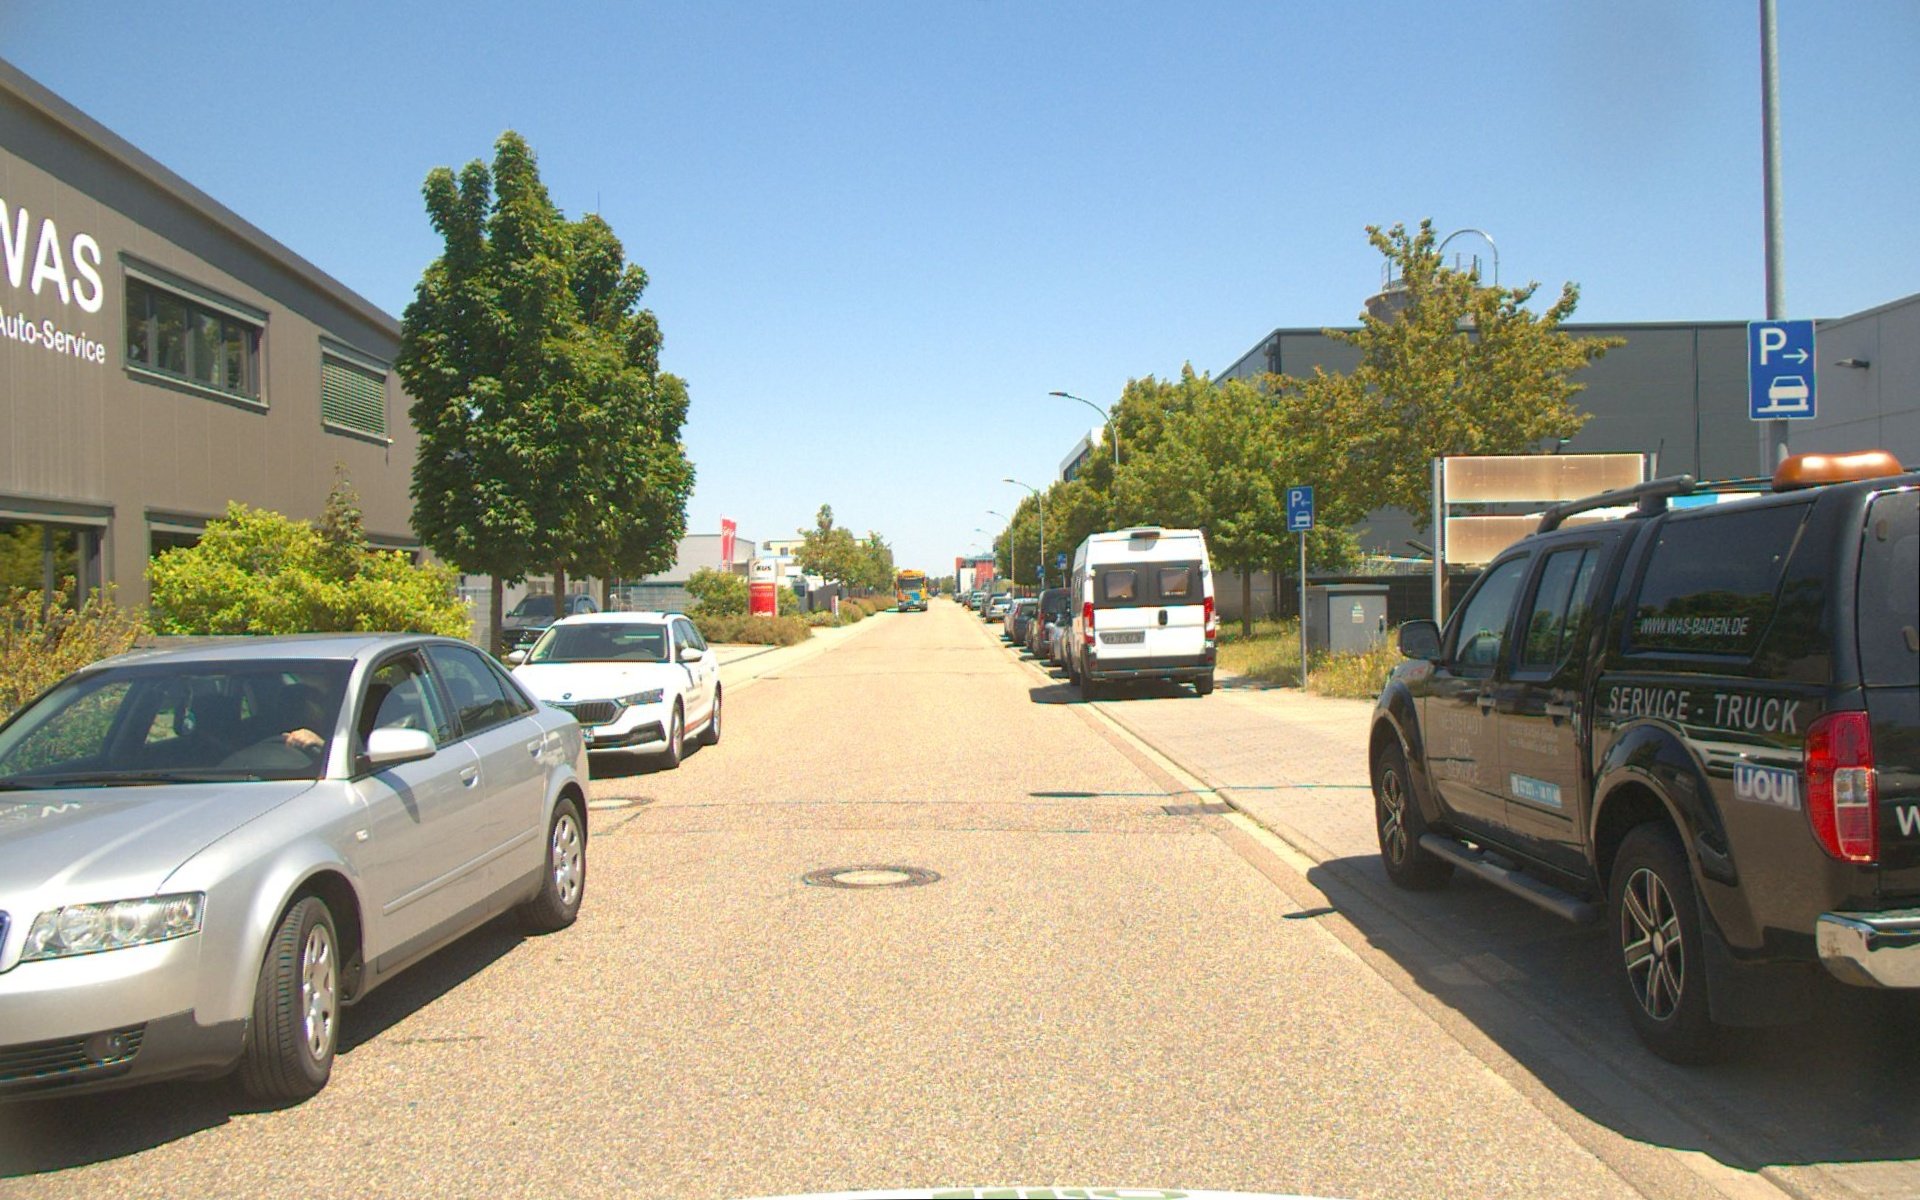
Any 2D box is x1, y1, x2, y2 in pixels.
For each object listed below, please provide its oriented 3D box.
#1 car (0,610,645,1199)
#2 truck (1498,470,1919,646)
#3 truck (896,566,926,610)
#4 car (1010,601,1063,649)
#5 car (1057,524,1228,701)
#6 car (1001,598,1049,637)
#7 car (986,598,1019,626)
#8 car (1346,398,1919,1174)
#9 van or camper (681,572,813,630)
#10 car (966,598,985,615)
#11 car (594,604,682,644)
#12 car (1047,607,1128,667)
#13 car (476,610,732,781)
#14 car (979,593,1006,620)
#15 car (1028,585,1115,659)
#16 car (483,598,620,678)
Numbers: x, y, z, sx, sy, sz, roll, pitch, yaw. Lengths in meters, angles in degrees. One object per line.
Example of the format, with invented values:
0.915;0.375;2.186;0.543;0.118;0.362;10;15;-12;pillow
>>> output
-2.721;0.831;6.426;1.746;1.447;4.416;-3;0;5;car
18.458;-1.035;40.457;9.800;3.889;3.029;-2;0;-11;truck
-4.241;-1.064;144.248;2.399;3.574;8.271;-2;1;-1;truck
2.662;0.831;56.840;1.673;1.531;4.708;-2;0;4;car
2.880;0.181;27.526;2.221;2.541;6.153;-2;0;1;car
2.659;0.715;68.397;1.603;1.494;3.743;-2;0;-3;car
2.367;0.678;93.699;1.683;1.475;3.645;-2;0;-1;car
3.183;0.427;6.699;1.953;1.917;5.155;-2;0;0;car
-12.232;0.057;95.479;7.235;3.090;2.789;-1;0;-2;van or camper
1.304;0.531;140.861;1.553;1.434;3.499;-1;0;-1;car
-13.384;0.976;68.846;3.433;1.579;1.556;-1;0;-6;car
2.998;0.862;39.481;1.676;1.310;4.115;-2;-1;1;car
-3.489;0.866;17.018;1.694;1.484;4.491;-1;0;-1;car
2.163;0.402;111.691;1.686;1.724;3.984;-1;0;0;car
2.947;0.575;44.530;1.953;1.857;4.353;-2;0;-1;car
-9.984;0.887;40.842;1.952;1.765;4.915;0;1;3;car
